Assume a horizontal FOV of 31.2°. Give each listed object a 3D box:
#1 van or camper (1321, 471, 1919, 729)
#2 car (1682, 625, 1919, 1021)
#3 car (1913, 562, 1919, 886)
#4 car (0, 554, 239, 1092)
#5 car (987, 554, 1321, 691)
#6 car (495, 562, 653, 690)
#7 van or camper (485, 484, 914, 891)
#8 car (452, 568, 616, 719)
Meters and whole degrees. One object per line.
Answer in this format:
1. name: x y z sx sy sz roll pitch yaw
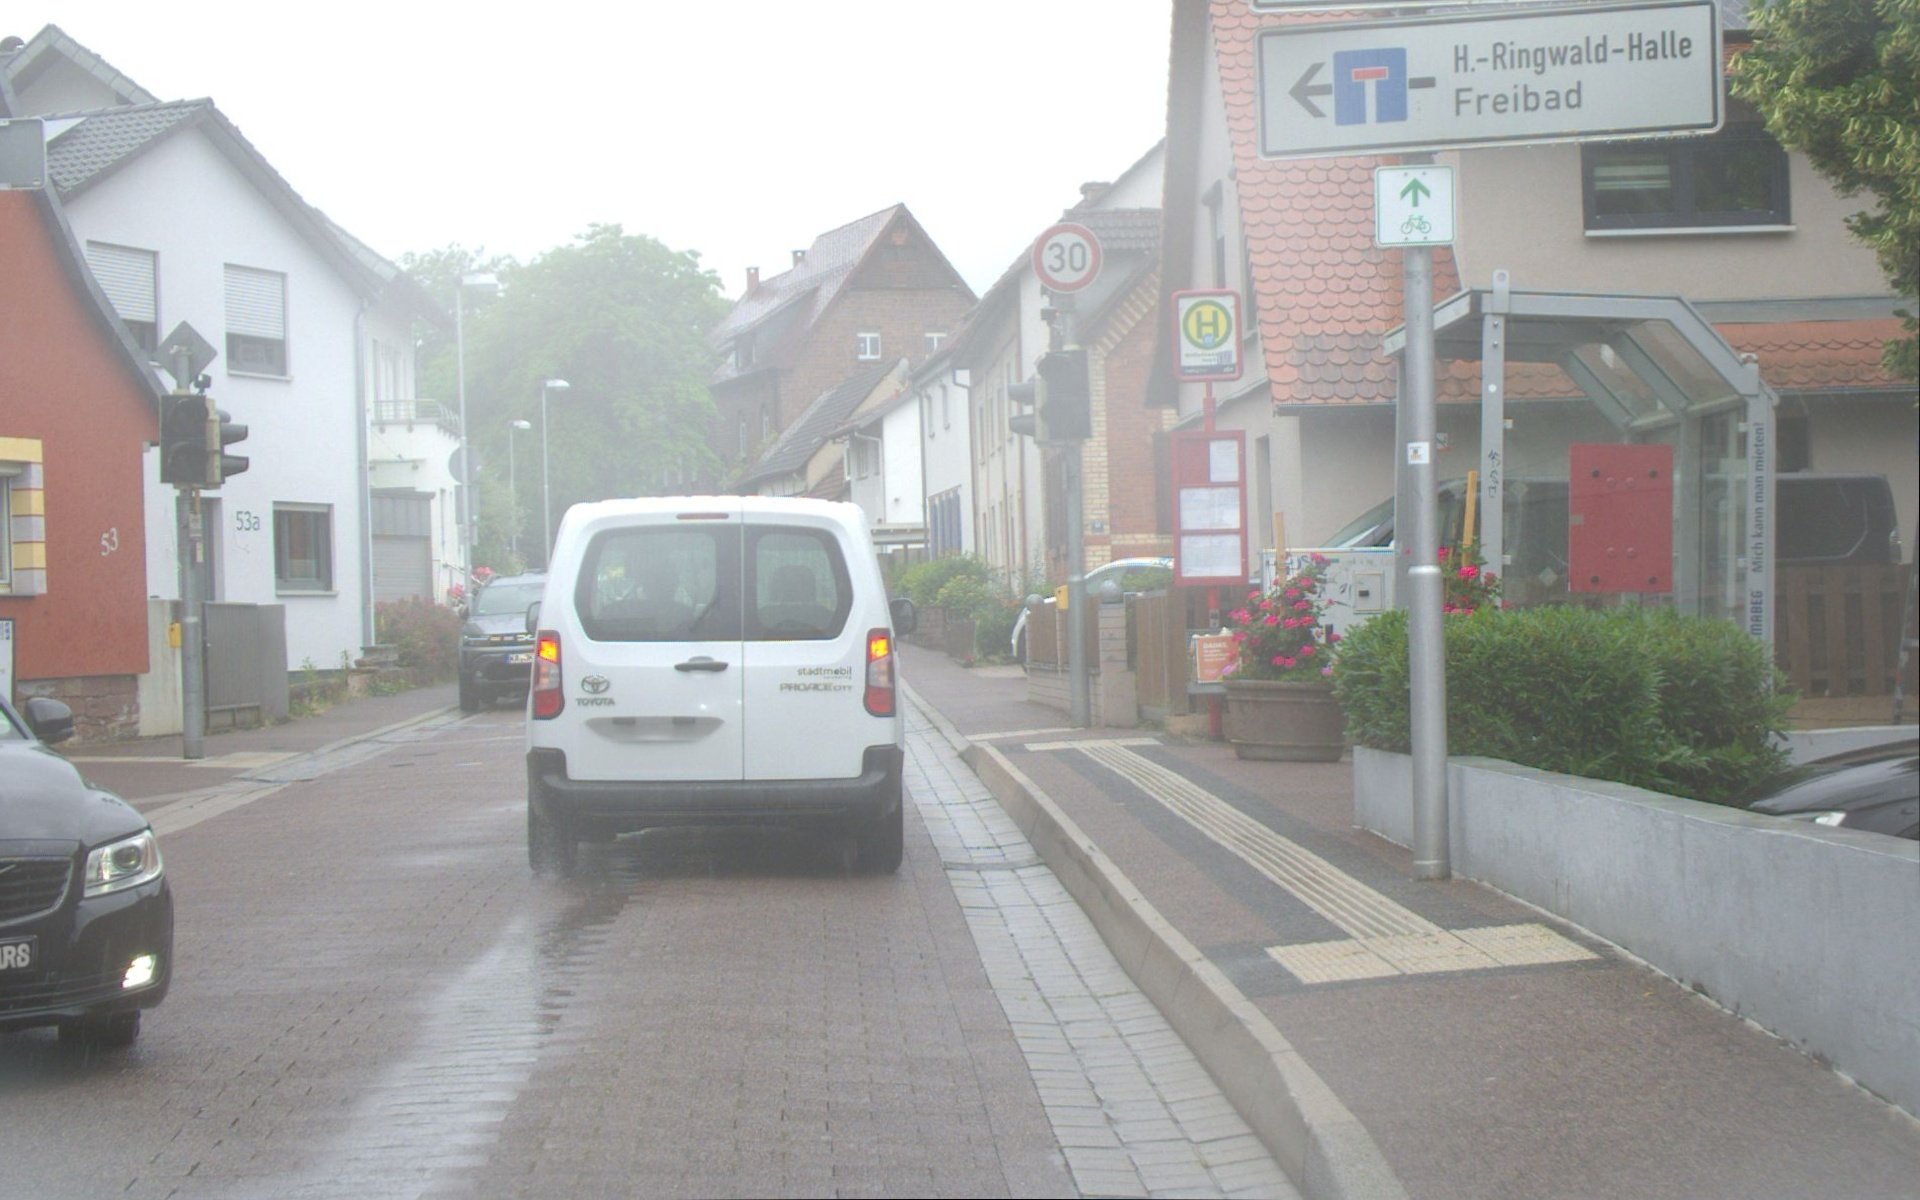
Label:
1. van or camper: 5.504 0.005 26.792 5.068 1.916 1.876 0 0 -5
2. car: 4.900 0.774 13.210 3.952 1.374 1.751 -2 1 6
3. car: 5.167 0.627 10.755 4.070 1.584 1.856 -1 0 12
4. car: -4.097 0.662 11.246 1.844 1.472 4.313 -3 1 -34
5. car: 2.443 0.241 44.511 1.871 1.584 4.619 -1 2 -35
6. car: -5.485 0.368 49.274 1.748 1.631 4.418 -4 0 -1
7. van or camper: -1.267 0.368 17.627 1.943 1.845 4.000 0 1 -2
8. car: -5.281 0.503 42.976 1.812 1.773 4.018 0 1 -4
